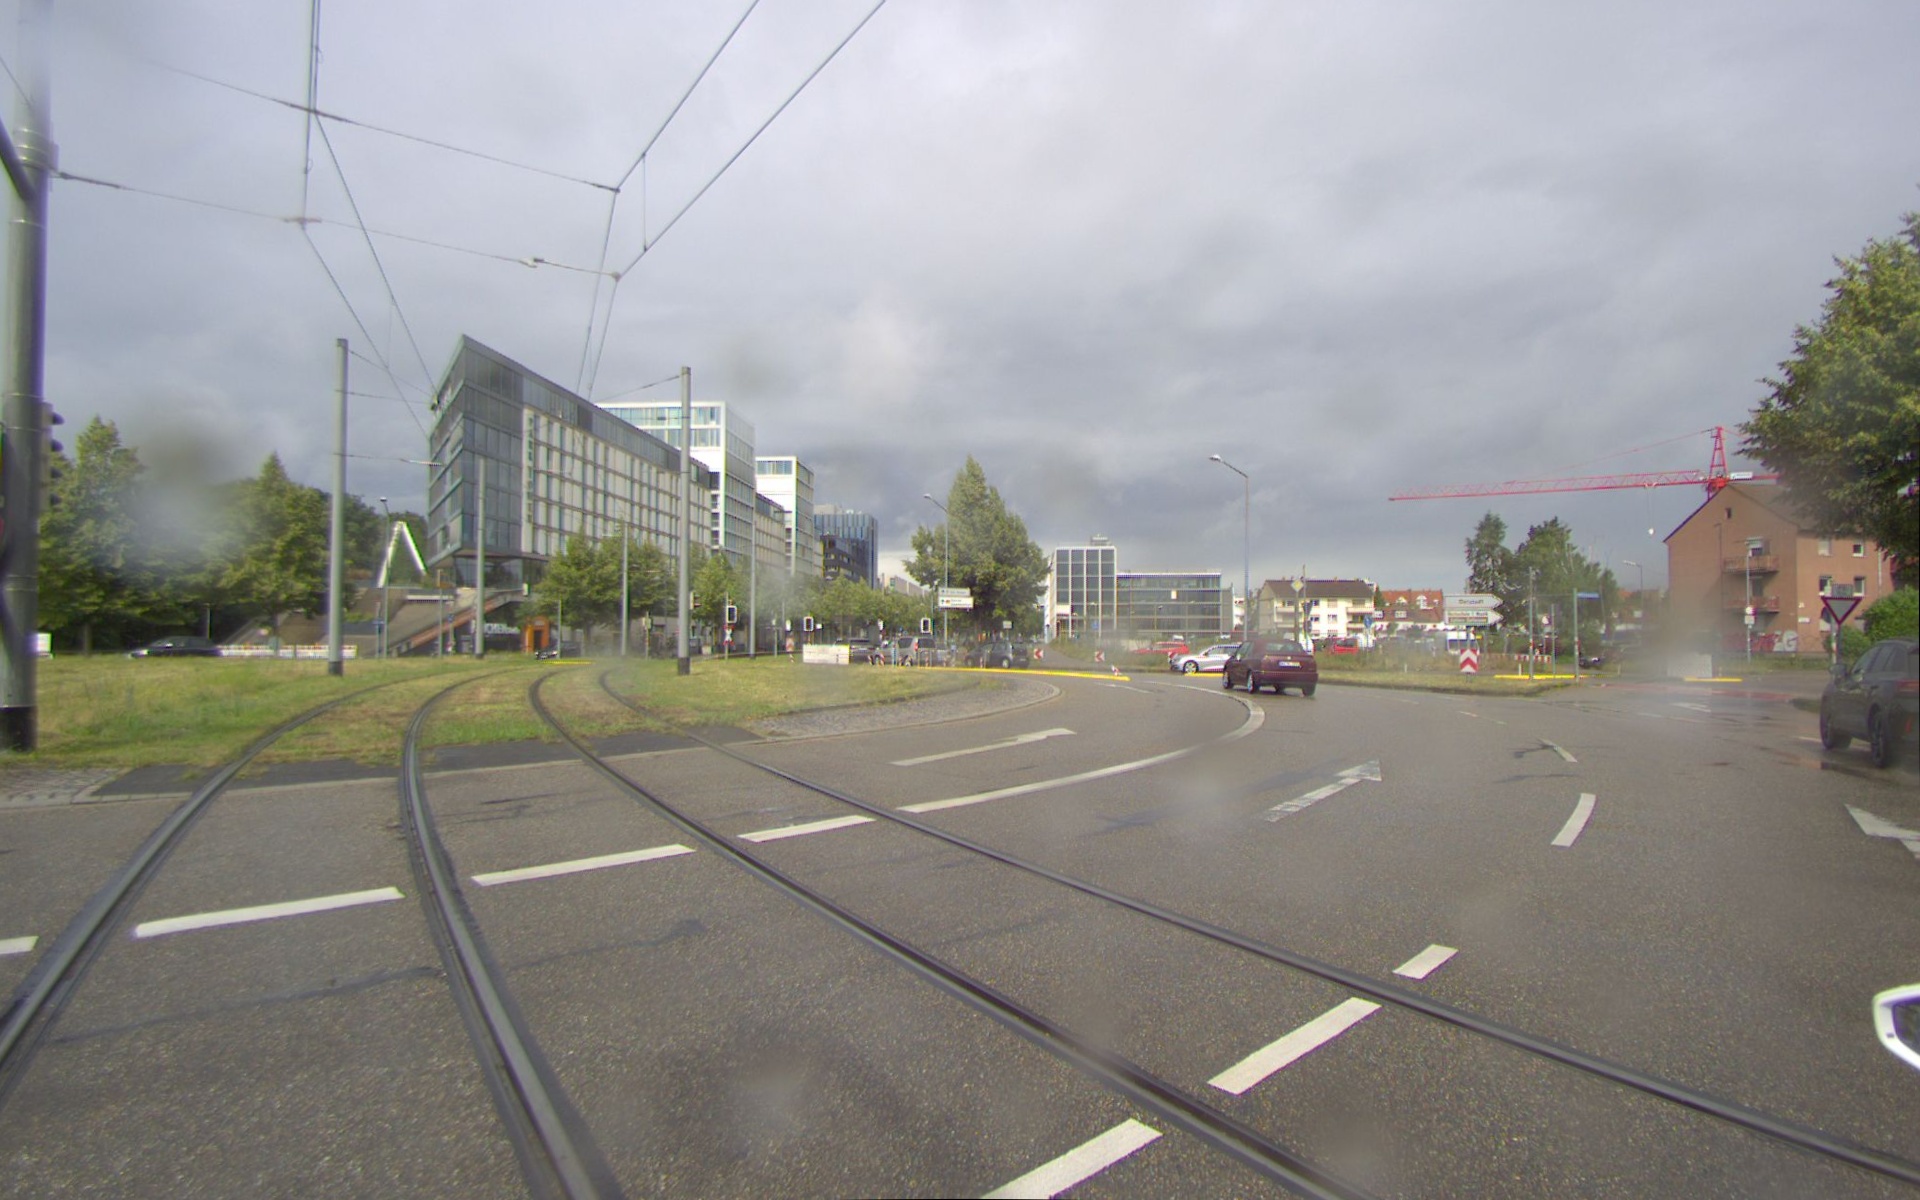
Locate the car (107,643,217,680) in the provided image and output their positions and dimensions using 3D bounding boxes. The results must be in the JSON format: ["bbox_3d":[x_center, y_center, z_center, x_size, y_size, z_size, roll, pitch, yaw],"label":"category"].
[{"bbox_3d":[-38.425,2.919,48.435,1.838,1.694,3.806,-1,-3,39],"label":"car"}]

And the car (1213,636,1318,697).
[{"bbox_3d":[8.091,1.744,26.947,1.686,1.481,4.002,-1,-3,2],"label":"car"}]

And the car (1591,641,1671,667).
[{"bbox_3d":[43.671,3.492,65.445,3.977,1.654,1.618,-1,-2,17],"label":"car"}]

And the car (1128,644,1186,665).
[{"bbox_3d":[14.741,4.090,75.242,4.107,1.530,1.859,0,-1,5],"label":"car"}]

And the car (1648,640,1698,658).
[{"bbox_3d":[63.025,4.347,88.816,3.468,1.539,1.610,-2,-3,40],"label":"car"}]

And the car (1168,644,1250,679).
[{"bbox_3d":[11.586,2.862,46.941,3.478,1.581,1.601,-1,-2,5],"label":"car"}]

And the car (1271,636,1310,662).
[{"bbox_3d":[24.527,3.596,74.612,1.820,1.723,4.001,0,0,4],"label":"car"}]

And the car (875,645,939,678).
[{"bbox_3d":[-2.734,3.120,51.375,1.538,1.581,3.458,1,-2,-41],"label":"car"}]

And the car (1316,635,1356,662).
[{"bbox_3d":[26.706,3.448,71.433,1.891,1.723,4.002,0,0,8],"label":"car"}]

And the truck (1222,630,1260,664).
[{"bbox_3d":[20.235,3.338,72.578,2.349,2.241,6.104,0,0,13],"label":"truck"}]

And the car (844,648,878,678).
[{"bbox_3d":[-5.785,3.626,58.397,1.547,1.581,3.669,0,-2,-13],"label":"car"}]

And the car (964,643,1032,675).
[{"bbox_3d":[1.950,3.018,51.984,1.539,1.581,3.457,1,-2,-42],"label":"car"}]

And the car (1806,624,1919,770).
[{"bbox_3d":[12.183,1.140,12.723,1.873,1.639,3.987,-2,-3,36],"label":"car"}]
